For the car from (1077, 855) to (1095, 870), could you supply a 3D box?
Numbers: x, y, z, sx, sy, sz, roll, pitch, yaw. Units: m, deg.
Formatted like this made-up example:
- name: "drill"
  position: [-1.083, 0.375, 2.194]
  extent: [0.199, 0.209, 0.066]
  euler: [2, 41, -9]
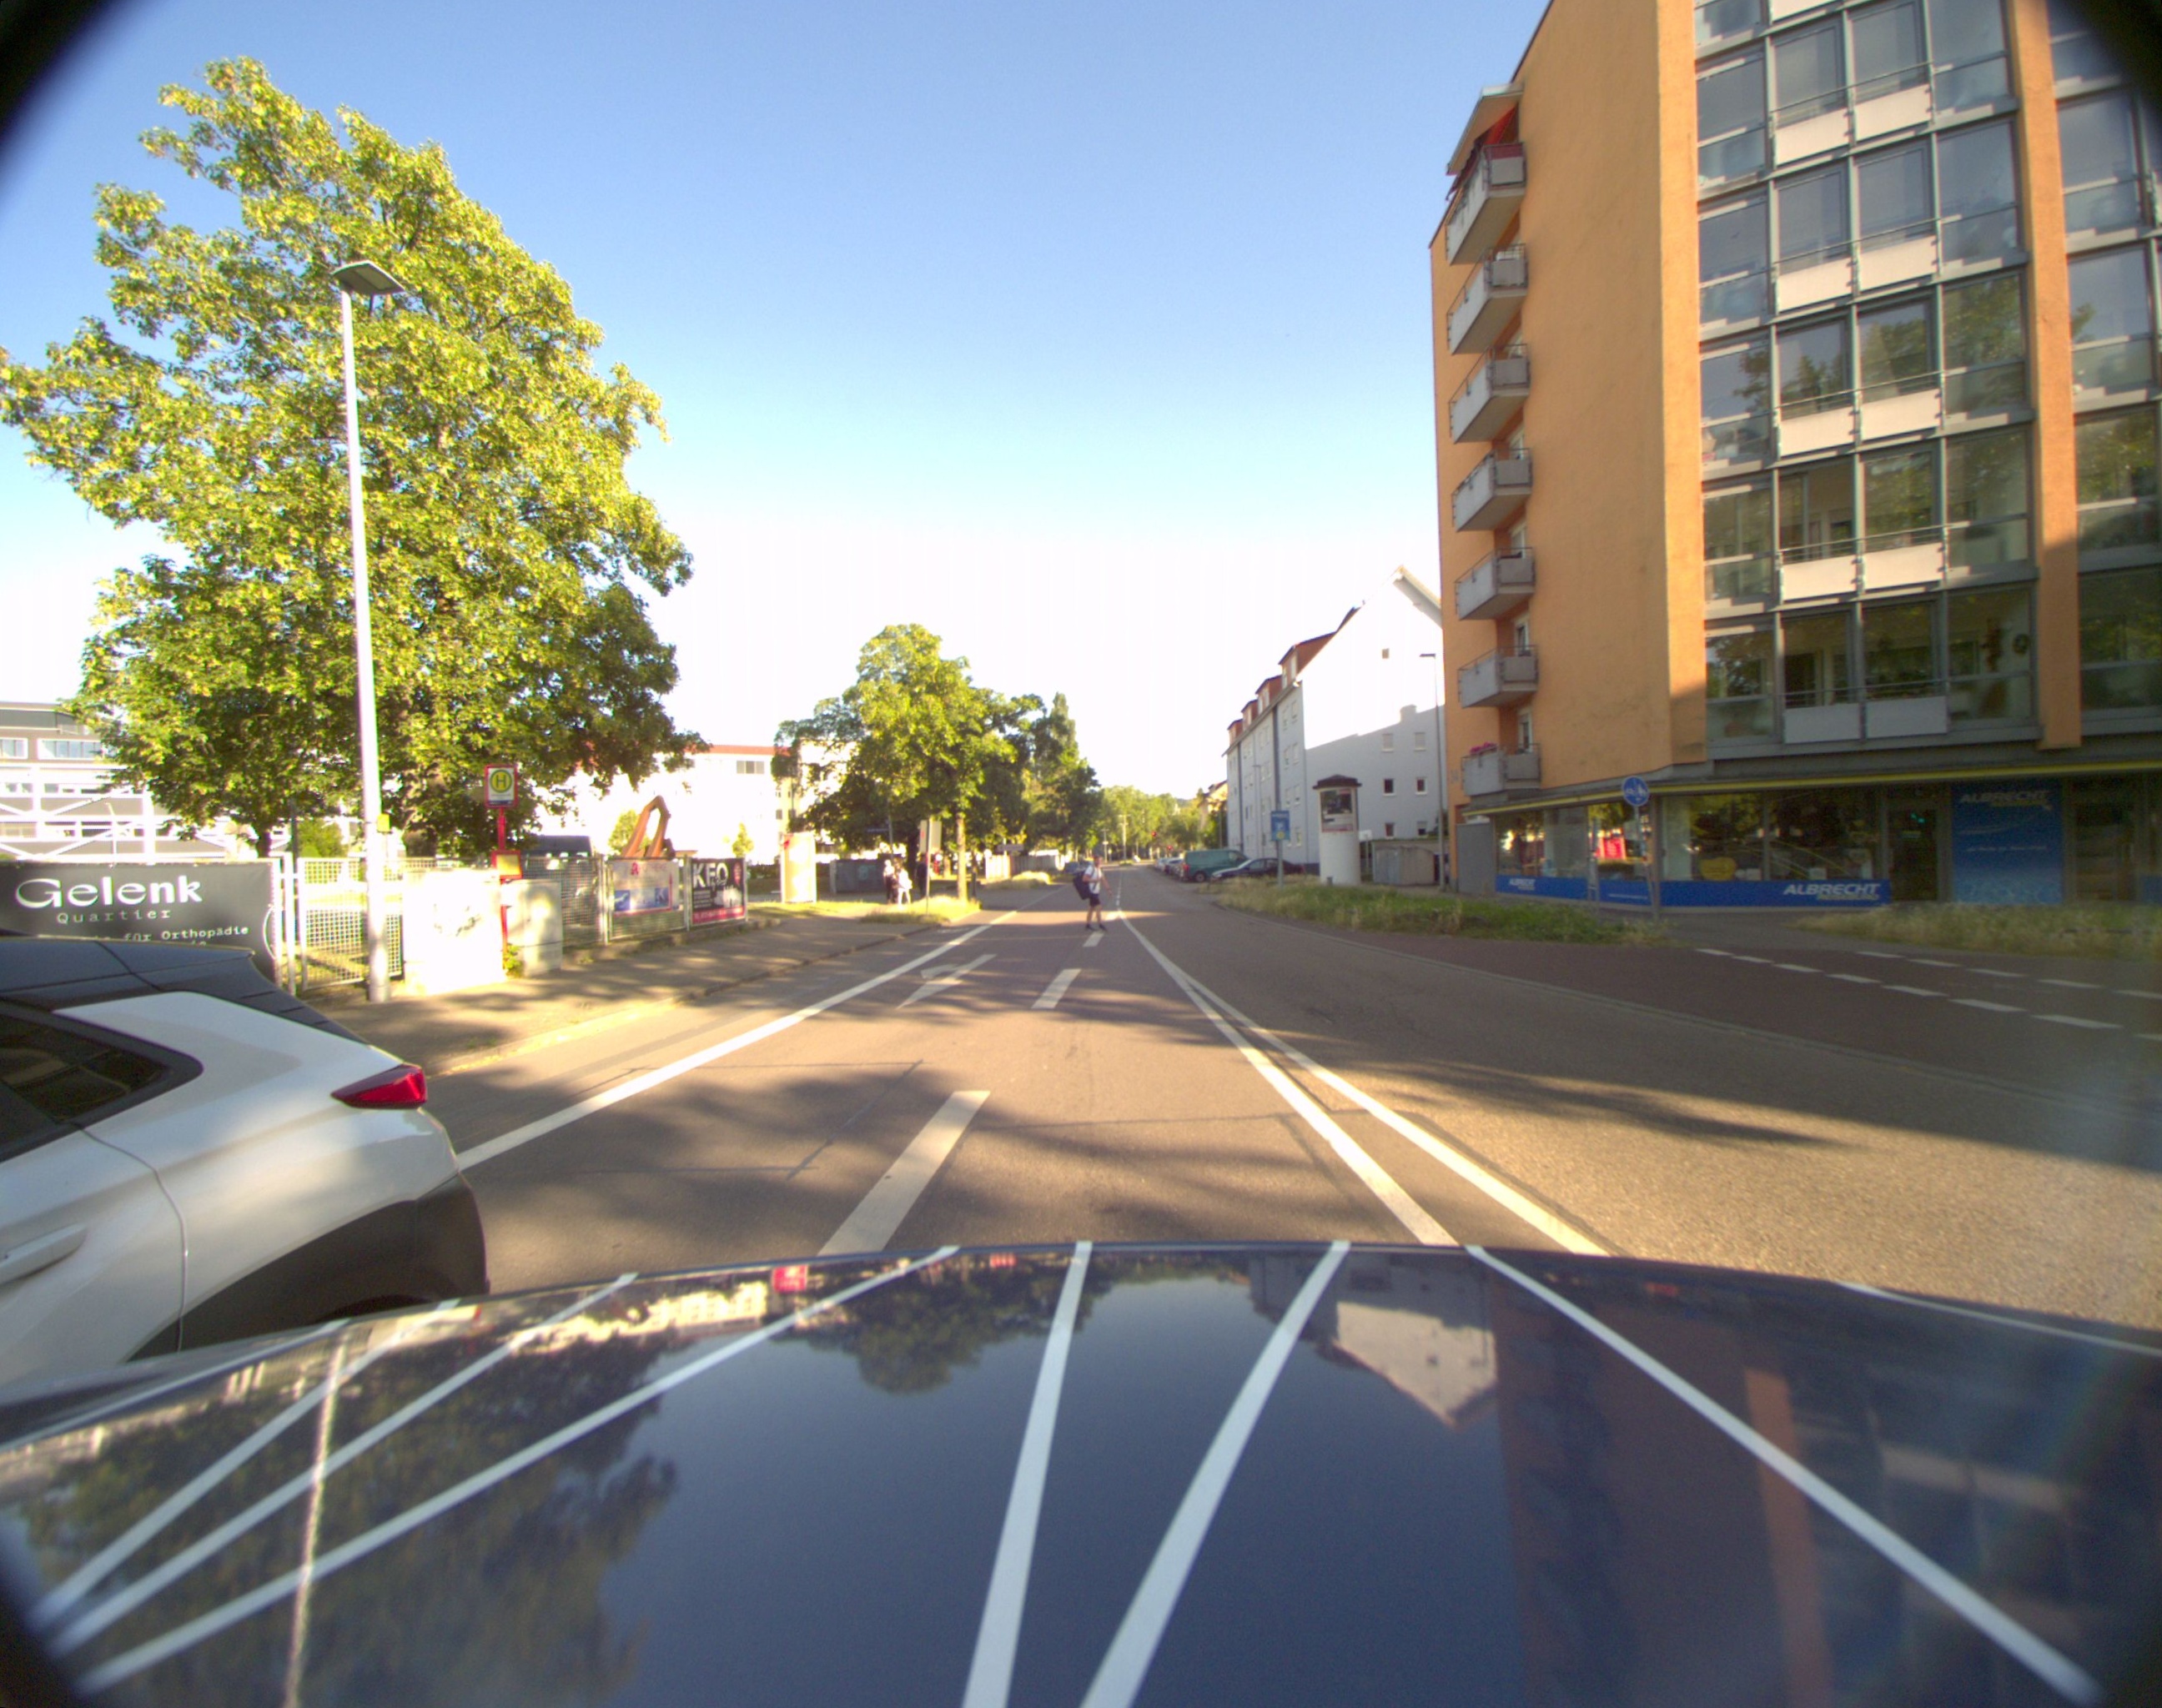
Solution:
- name: "car"
  position: [0.561, 0.951, 87.981]
  extent: [1.998, 1.521, 3.999]
  euler: [-2, 1, 1]

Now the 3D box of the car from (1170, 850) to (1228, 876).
- name: "car"
  position: [8.741, 0.664, 56.442]
  extent: [4.071, 1.741, 1.899]
  euler: [-2, 1, 5]

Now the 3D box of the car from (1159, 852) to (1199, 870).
- name: "car"
  position: [10.252, 0.726, 80.071]
  extent: [4.071, 1.741, 1.899]
  euler: [-2, 1, 5]

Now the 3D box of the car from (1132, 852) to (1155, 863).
- name: "car"
  position: [9.694, 0.590, 118.228]
  extent: [3.538, 1.564, 1.867]
  euler: [-2, 1, 5]

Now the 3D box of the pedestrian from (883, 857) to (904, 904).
- name: "pedestrian"
  position: [-7.011, 0.986, 28.487]
  extent: [0.609, 1.727, 0.638]
  euler: [-2, 1, -5]

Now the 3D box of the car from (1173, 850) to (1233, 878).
- name: "car"
  position: [8.564, 0.669, 53.698]
  extent: [4.059, 1.805, 1.937]
  euler: [-2, 1, 5]

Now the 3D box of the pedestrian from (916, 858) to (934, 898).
- name: "pedestrian"
  position: [-6.585, 1.015, 32.119]
  extent: [0.696, 1.659, 0.638]
  euler: [-2, 1, -11]

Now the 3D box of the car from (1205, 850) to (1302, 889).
- name: "car"
  position: [8.291, 0.733, 36.879]
  extent: [4.423, 1.652, 2.001]
  euler: [-2, 1, 9]

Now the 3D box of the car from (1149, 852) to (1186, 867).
- name: "car"
  position: [10.215, 0.646, 90.195]
  extent: [4.257, 1.564, 1.867]
  euler: [-2, 1, 5]

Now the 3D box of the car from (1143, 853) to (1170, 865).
- name: "car"
  position: [10.459, 0.705, 105.247]
  extent: [3.538, 1.564, 1.867]
  euler: [-2, 1, 5]

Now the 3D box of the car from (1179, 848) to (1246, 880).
- name: "car"
  position: [8.349, 0.624, 48.592]
  extent: [3.995, 1.805, 2.000]
  euler: [-2, 1, 5]

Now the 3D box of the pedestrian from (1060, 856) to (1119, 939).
- name: "pedestrian"
  position: [0.174, 0.934, 16.907]
  extent: [0.903, 1.727, 1.086]
  euler: [-3, 1, -21]

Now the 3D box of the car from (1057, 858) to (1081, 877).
- name: "car"
  position: [-1.097, 1.219, 69.600]
  extent: [1.998, 1.521, 3.999]
  euler: [-2, 1, 1]

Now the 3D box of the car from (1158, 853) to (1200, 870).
- name: "car"
  position: [10.300, 0.757, 79.936]
  extent: [4.257, 1.564, 1.867]
  euler: [-2, 1, 5]

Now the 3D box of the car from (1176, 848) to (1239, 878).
- name: "car"
  position: [8.493, 0.588, 51.348]
  extent: [3.995, 1.805, 2.000]
  euler: [-2, 1, 5]

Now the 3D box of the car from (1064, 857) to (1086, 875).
- name: "car"
  position: [-0.594, 1.152, 73.948]
  extent: [1.998, 1.521, 3.999]
  euler: [-2, 1, 1]

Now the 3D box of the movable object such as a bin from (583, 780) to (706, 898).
- name: "movable object such as a bin"
  position: [-22.236, -0.700, 38.553]
  extent: [3.986, 5.447, 6.016]
  euler: [-3, 1, -42]

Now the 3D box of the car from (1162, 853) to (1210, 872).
- name: "car"
  position: [9.561, 0.774, 69.379]
  extent: [4.257, 1.564, 1.867]
  euler: [-2, 1, 5]

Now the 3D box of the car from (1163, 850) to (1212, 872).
- name: "car"
  position: [9.267, 0.609, 66.493]
  extent: [4.117, 1.762, 1.757]
  euler: [-2, 1, 5]

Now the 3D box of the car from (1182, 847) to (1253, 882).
- name: "car"
  position: [8.187, 0.595, 45.944]
  extent: [3.996, 1.936, 2.000]
  euler: [-2, 1, 4]

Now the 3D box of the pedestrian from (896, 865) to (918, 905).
- name: "pedestrian"
  position: [-6.371, 1.131, 27.866]
  extent: [0.609, 1.426, 0.639]
  euler: [-2, 1, 1]
